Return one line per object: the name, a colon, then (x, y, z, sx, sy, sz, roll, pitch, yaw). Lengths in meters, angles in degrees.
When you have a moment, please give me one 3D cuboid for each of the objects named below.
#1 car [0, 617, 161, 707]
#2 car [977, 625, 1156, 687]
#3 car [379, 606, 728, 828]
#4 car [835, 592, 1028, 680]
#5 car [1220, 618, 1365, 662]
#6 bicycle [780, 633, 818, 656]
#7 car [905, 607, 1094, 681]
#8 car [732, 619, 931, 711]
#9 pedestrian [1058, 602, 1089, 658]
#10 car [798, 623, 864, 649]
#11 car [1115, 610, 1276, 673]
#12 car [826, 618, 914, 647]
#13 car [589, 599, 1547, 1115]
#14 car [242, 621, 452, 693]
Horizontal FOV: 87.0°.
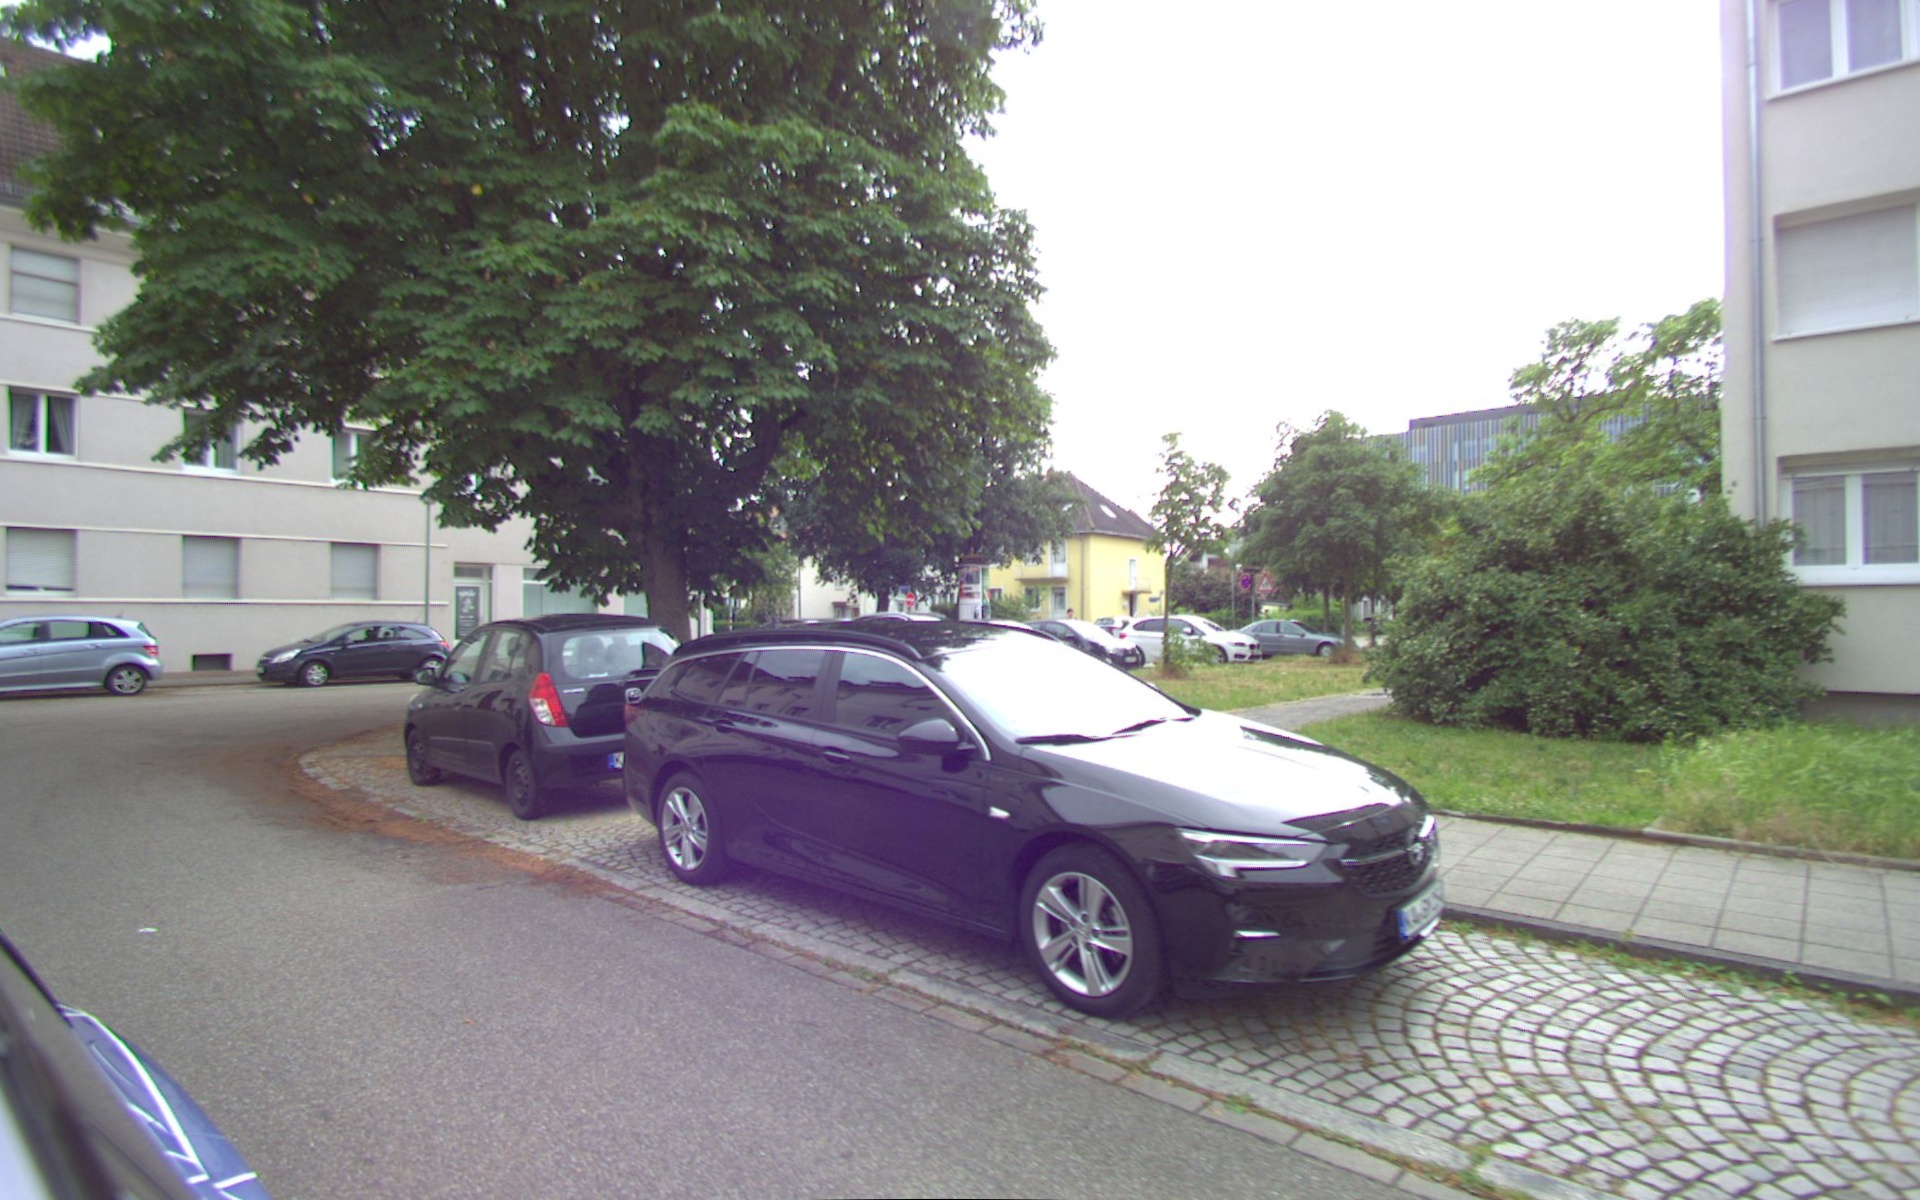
car: (-18.025, 1.163, 19.343, 1.763, 1.640, 4.139, -2, -2, 44)
car: (2.707, 1.450, 26.607, 1.814, 1.475, 4.563, 1, -3, -44)
car: (-3.698, 0.863, 8.899, 3.593, 1.505, 1.507, -2, 0, 45)
car: (-0.692, 0.792, 21.750, 1.888, 1.710, 4.071, 1, -3, -45)
car: (11.642, 1.419, 35.588, 4.552, 1.465, 1.659, -3, -3, 37)
bicycle: (-7.570, 2.077, 47.606, 1.883, 1.075, 0.659, -2, -2, 39)
car: (0.846, 1.035, 23.748, 1.814, 1.578, 4.359, 1, -3, -44)
car: (-2.539, 1.185, 19.464, 3.844, 1.589, 1.804, -2, -3, 44)
pedestrian: (3.884, 1.021, 34.455, 0.871, 1.850, 1.213, -1, -2, 15)
car: (-8.380, 2.313, 65.419, 4.201, 1.578, 1.685, -2, -1, 36)
car: (6.874, 1.232, 29.748, 4.147, 1.572, 1.858, -6, -4, 42)
car: (-5.017, 1.814, 56.221, 4.875, 1.578, 1.879, -2, -2, 37)
car: (0.114, 0.814, 5.317, 4.834, 1.475, 1.847, -2, 0, 43)
car: (-14.258, 1.275, 23.697, 1.762, 1.501, 3.882, -2, -2, 42)
